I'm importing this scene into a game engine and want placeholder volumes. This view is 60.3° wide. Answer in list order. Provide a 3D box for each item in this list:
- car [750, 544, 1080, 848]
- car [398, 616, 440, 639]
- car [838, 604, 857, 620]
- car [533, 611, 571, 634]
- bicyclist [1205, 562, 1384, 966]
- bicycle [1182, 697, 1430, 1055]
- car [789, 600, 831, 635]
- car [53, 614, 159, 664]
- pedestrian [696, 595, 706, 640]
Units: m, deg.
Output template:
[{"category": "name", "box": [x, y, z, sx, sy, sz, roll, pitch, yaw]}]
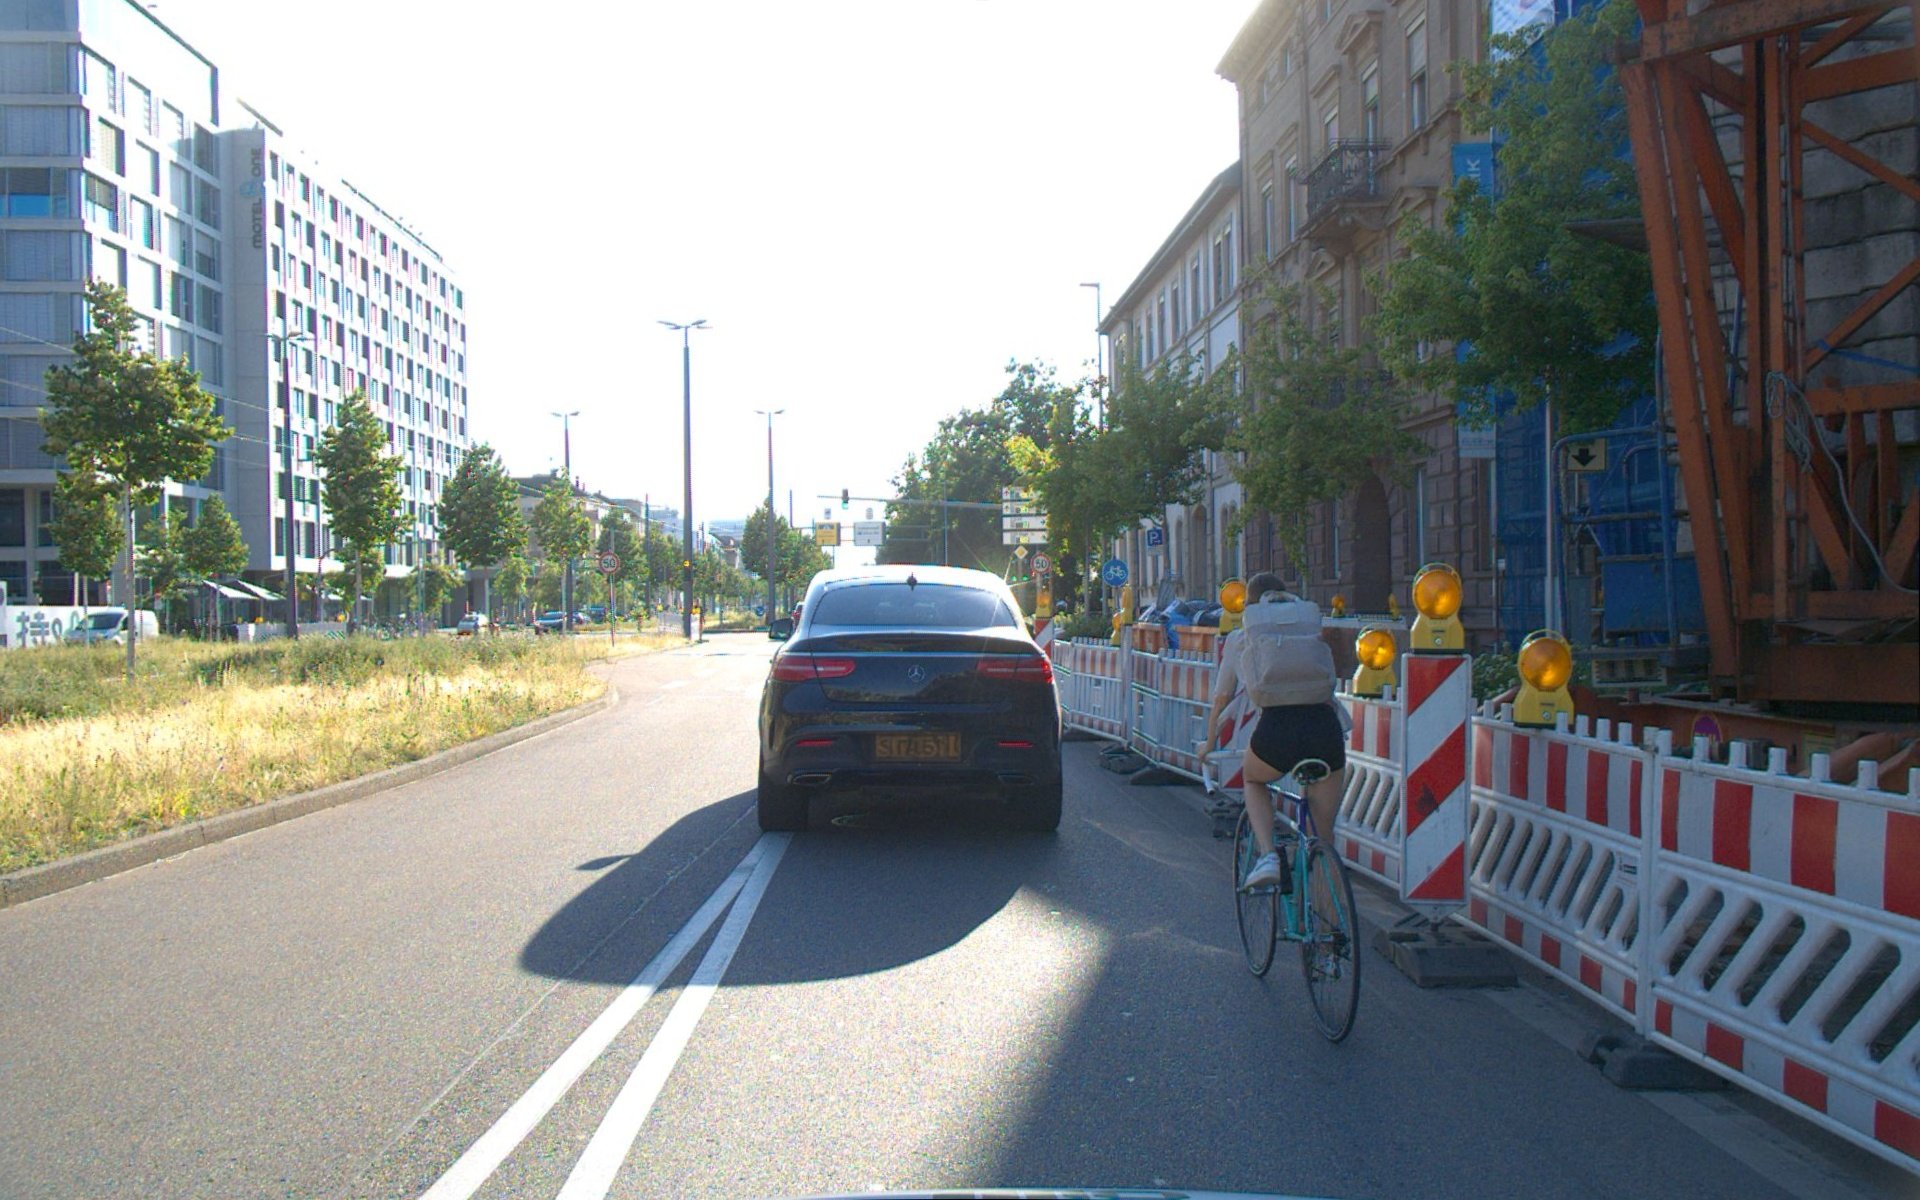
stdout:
[{"category": "car", "box": [-0.275, 0.576, 11.835, 1.953, 1.803, 4.000, 0, 0, 0]}, {"category": "car", "box": [-35.664, 1.793, 109.067, 1.674, 1.467, 3.581, 0, 0, -2]}, {"category": "car", "box": [-10.179, 1.091, 149.811, 1.674, 1.467, 3.581, 0, 0, -2]}, {"category": "car", "box": [-26.192, 1.439, 106.306, 1.674, 1.467, 3.581, 0, 0, -2]}, {"category": "bicyclist", "box": [1.225, 0.577, 6.137, 0.512, 1.420, 0.614, 0, 0, -3]}, {"category": "bicycle", "box": [1.251, 0.954, 6.288, 0.502, 1.070, 1.724, 0, 0, -3]}, {"category": "car", "box": [-6.632, 0.742, 73.266, 1.674, 1.467, 3.581, -1, 0, -2]}, {"category": "car", "box": [-30.390, 1.362, 58.983, 1.753, 1.713, 3.639, 0, 0, 3]}, {"category": "pedestrian", "box": [-10.391, 0.702, 66.412, 0.327, 1.794, 0.418, 0, 0, -3]}]
